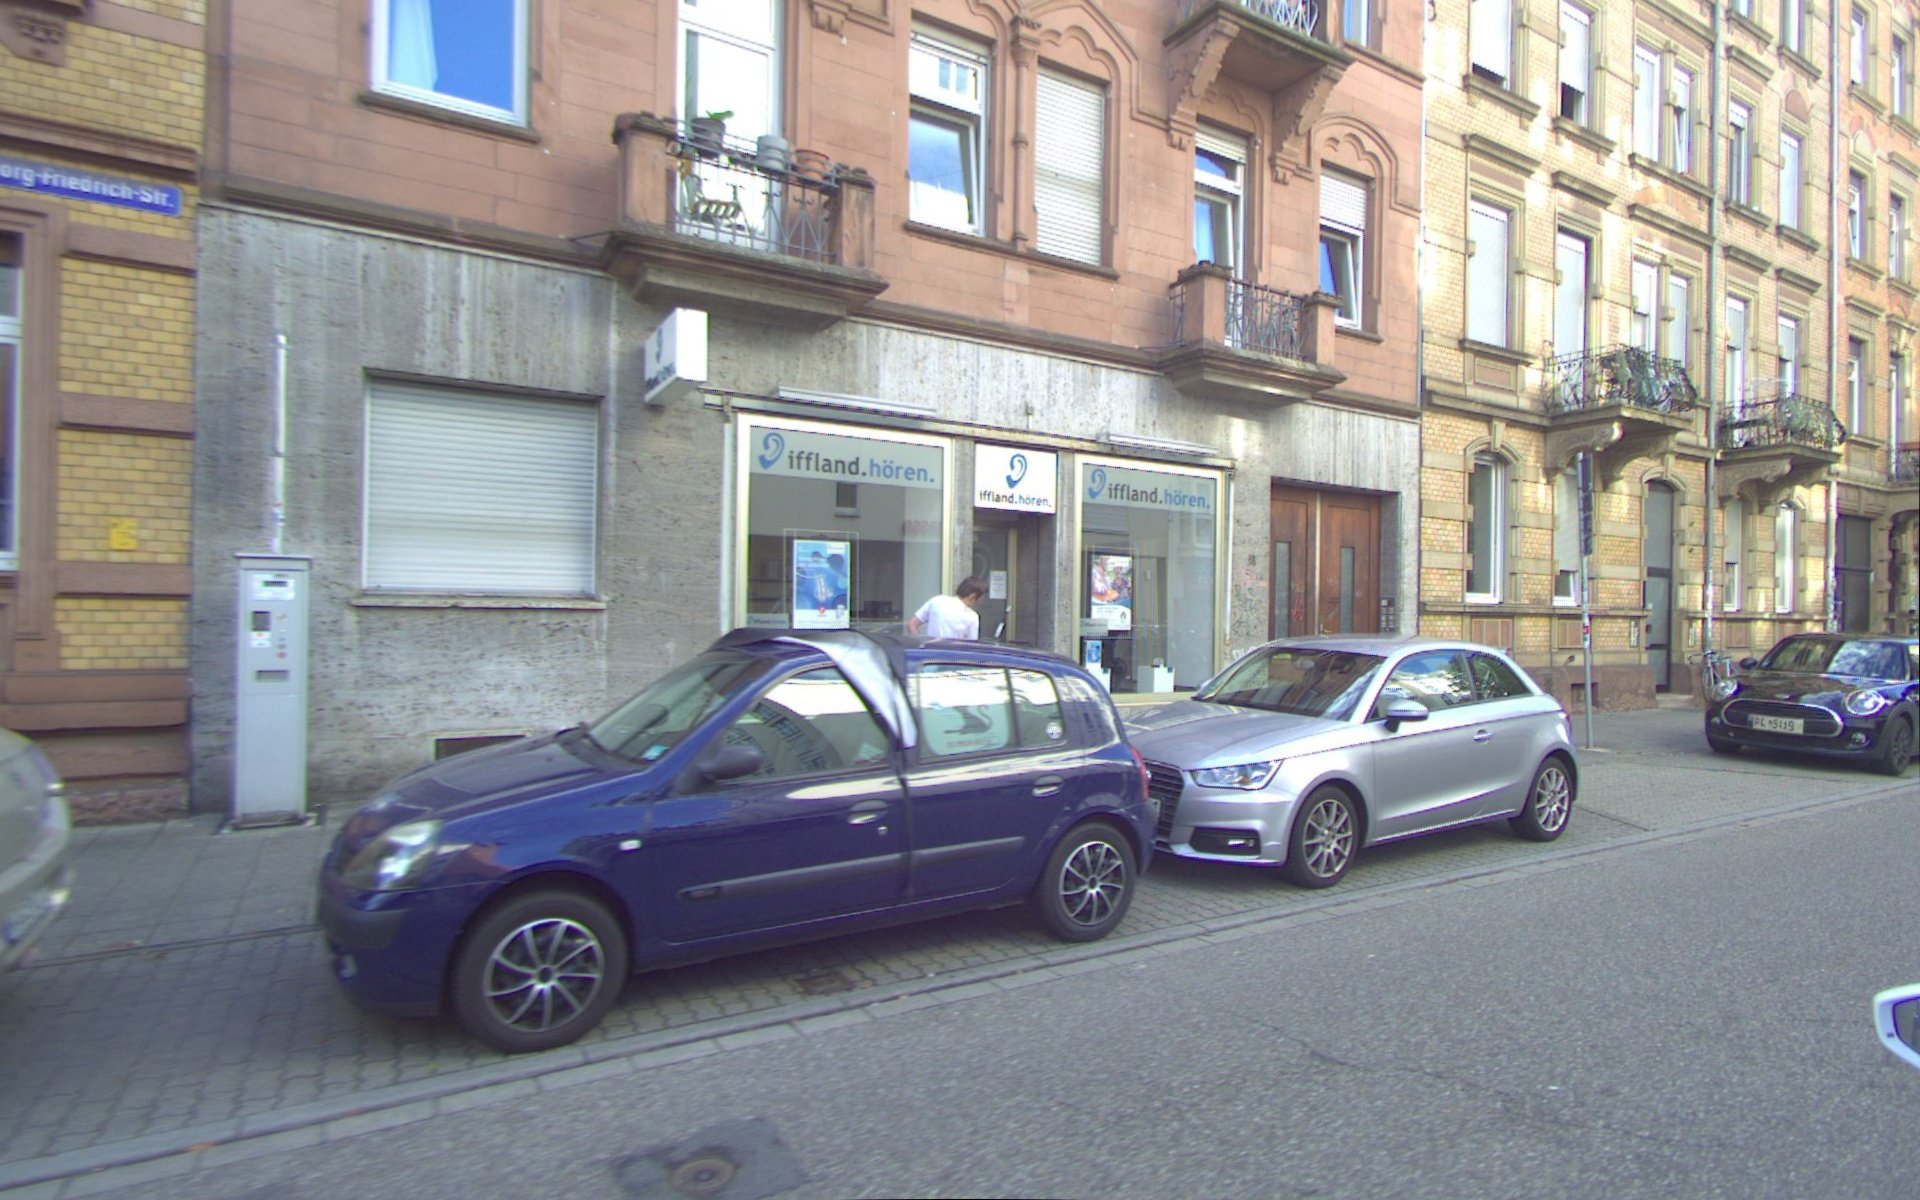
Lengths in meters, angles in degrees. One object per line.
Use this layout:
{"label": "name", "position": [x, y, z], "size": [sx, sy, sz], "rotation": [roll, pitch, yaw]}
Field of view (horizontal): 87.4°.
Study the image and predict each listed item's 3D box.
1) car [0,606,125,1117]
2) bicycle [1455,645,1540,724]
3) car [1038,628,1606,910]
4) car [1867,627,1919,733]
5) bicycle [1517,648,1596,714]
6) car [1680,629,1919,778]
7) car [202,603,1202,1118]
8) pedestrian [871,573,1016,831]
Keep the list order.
{"label": "car", "position": [-4.838, 0.753, 2.513], "size": [3.936, 1.503, 1.733], "rotation": [2, 0, -30]}
{"label": "bicycle", "position": [7.566, 1.169, 14.133], "size": [1.282, 1.028, 0.433], "rotation": [1, 2, -32]}
{"label": "car", "position": [2.589, 0.950, 6.977], "size": [3.823, 1.405, 1.681], "rotation": [2, 0, -31]}
{"label": "car", "position": [15.069, 1.167, 14.654], "size": [3.823, 1.456, 1.681], "rotation": [1, 0, -31]}
{"label": "bicycle", "position": [8.884, 1.183, 14.940], "size": [1.282, 0.910, 0.433], "rotation": [1, 2, -32]}
{"label": "car", "position": [10.235, 1.086, 11.662], "size": [3.823, 1.405, 1.681], "rotation": [2, 0, -31]}
{"label": "car", "position": [-0.951, 0.824, 4.727], "size": [3.936, 1.503, 1.733], "rotation": [2, 0, -30]}
{"label": "pedestrian", "position": [-0.132, 0.720, 7.625], "size": [0.765, 1.814, 0.725], "rotation": [0, 3, -37]}
